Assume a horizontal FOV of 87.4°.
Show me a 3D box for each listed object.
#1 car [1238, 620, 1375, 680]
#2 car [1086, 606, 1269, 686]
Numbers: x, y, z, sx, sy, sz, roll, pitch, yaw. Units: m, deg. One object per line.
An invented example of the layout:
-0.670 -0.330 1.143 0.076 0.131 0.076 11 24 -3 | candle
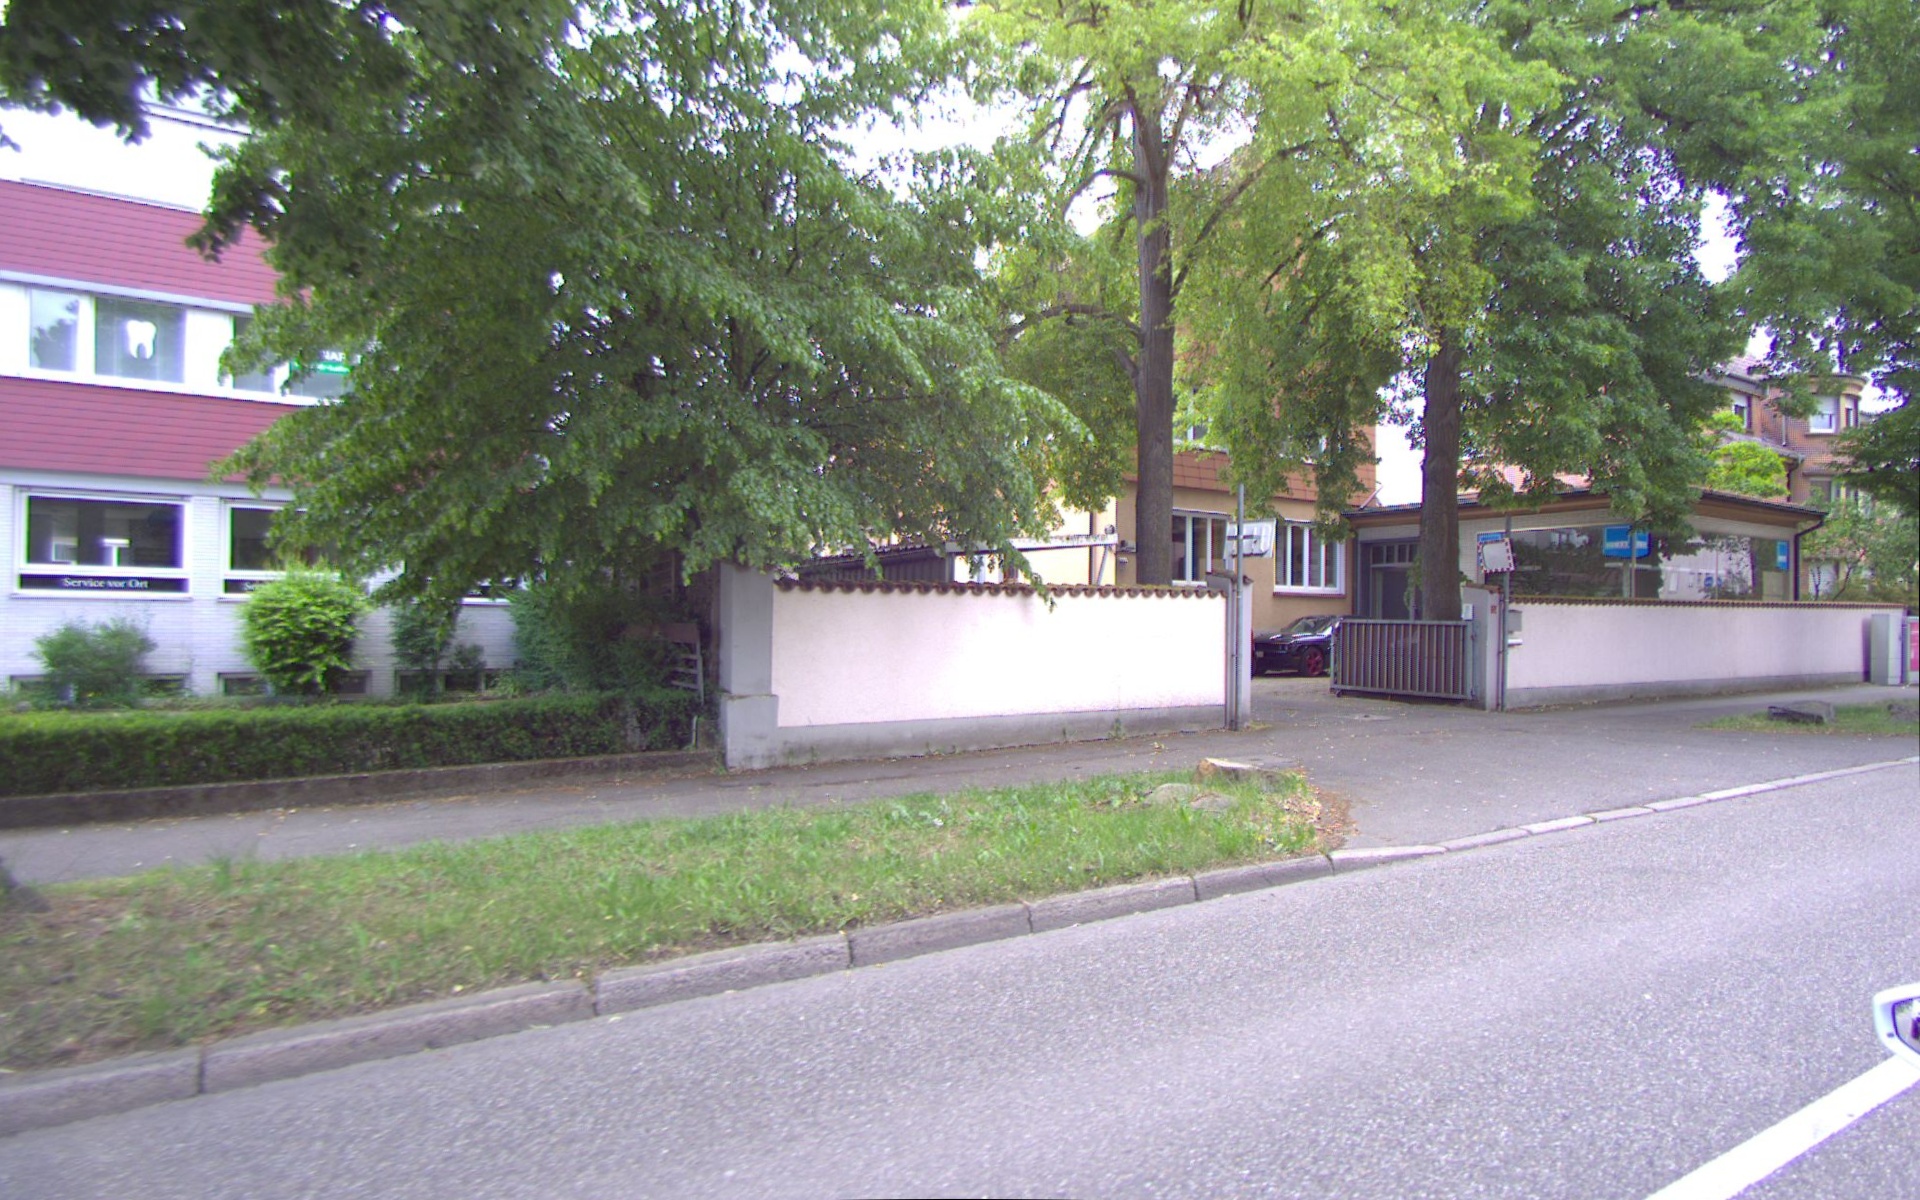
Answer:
8.438 1.185 24.388 3.359 1.347 1.333 1 0 -32 | car
4.975 1.001 22.854 3.955 1.662 1.771 1 0 -31 | car
